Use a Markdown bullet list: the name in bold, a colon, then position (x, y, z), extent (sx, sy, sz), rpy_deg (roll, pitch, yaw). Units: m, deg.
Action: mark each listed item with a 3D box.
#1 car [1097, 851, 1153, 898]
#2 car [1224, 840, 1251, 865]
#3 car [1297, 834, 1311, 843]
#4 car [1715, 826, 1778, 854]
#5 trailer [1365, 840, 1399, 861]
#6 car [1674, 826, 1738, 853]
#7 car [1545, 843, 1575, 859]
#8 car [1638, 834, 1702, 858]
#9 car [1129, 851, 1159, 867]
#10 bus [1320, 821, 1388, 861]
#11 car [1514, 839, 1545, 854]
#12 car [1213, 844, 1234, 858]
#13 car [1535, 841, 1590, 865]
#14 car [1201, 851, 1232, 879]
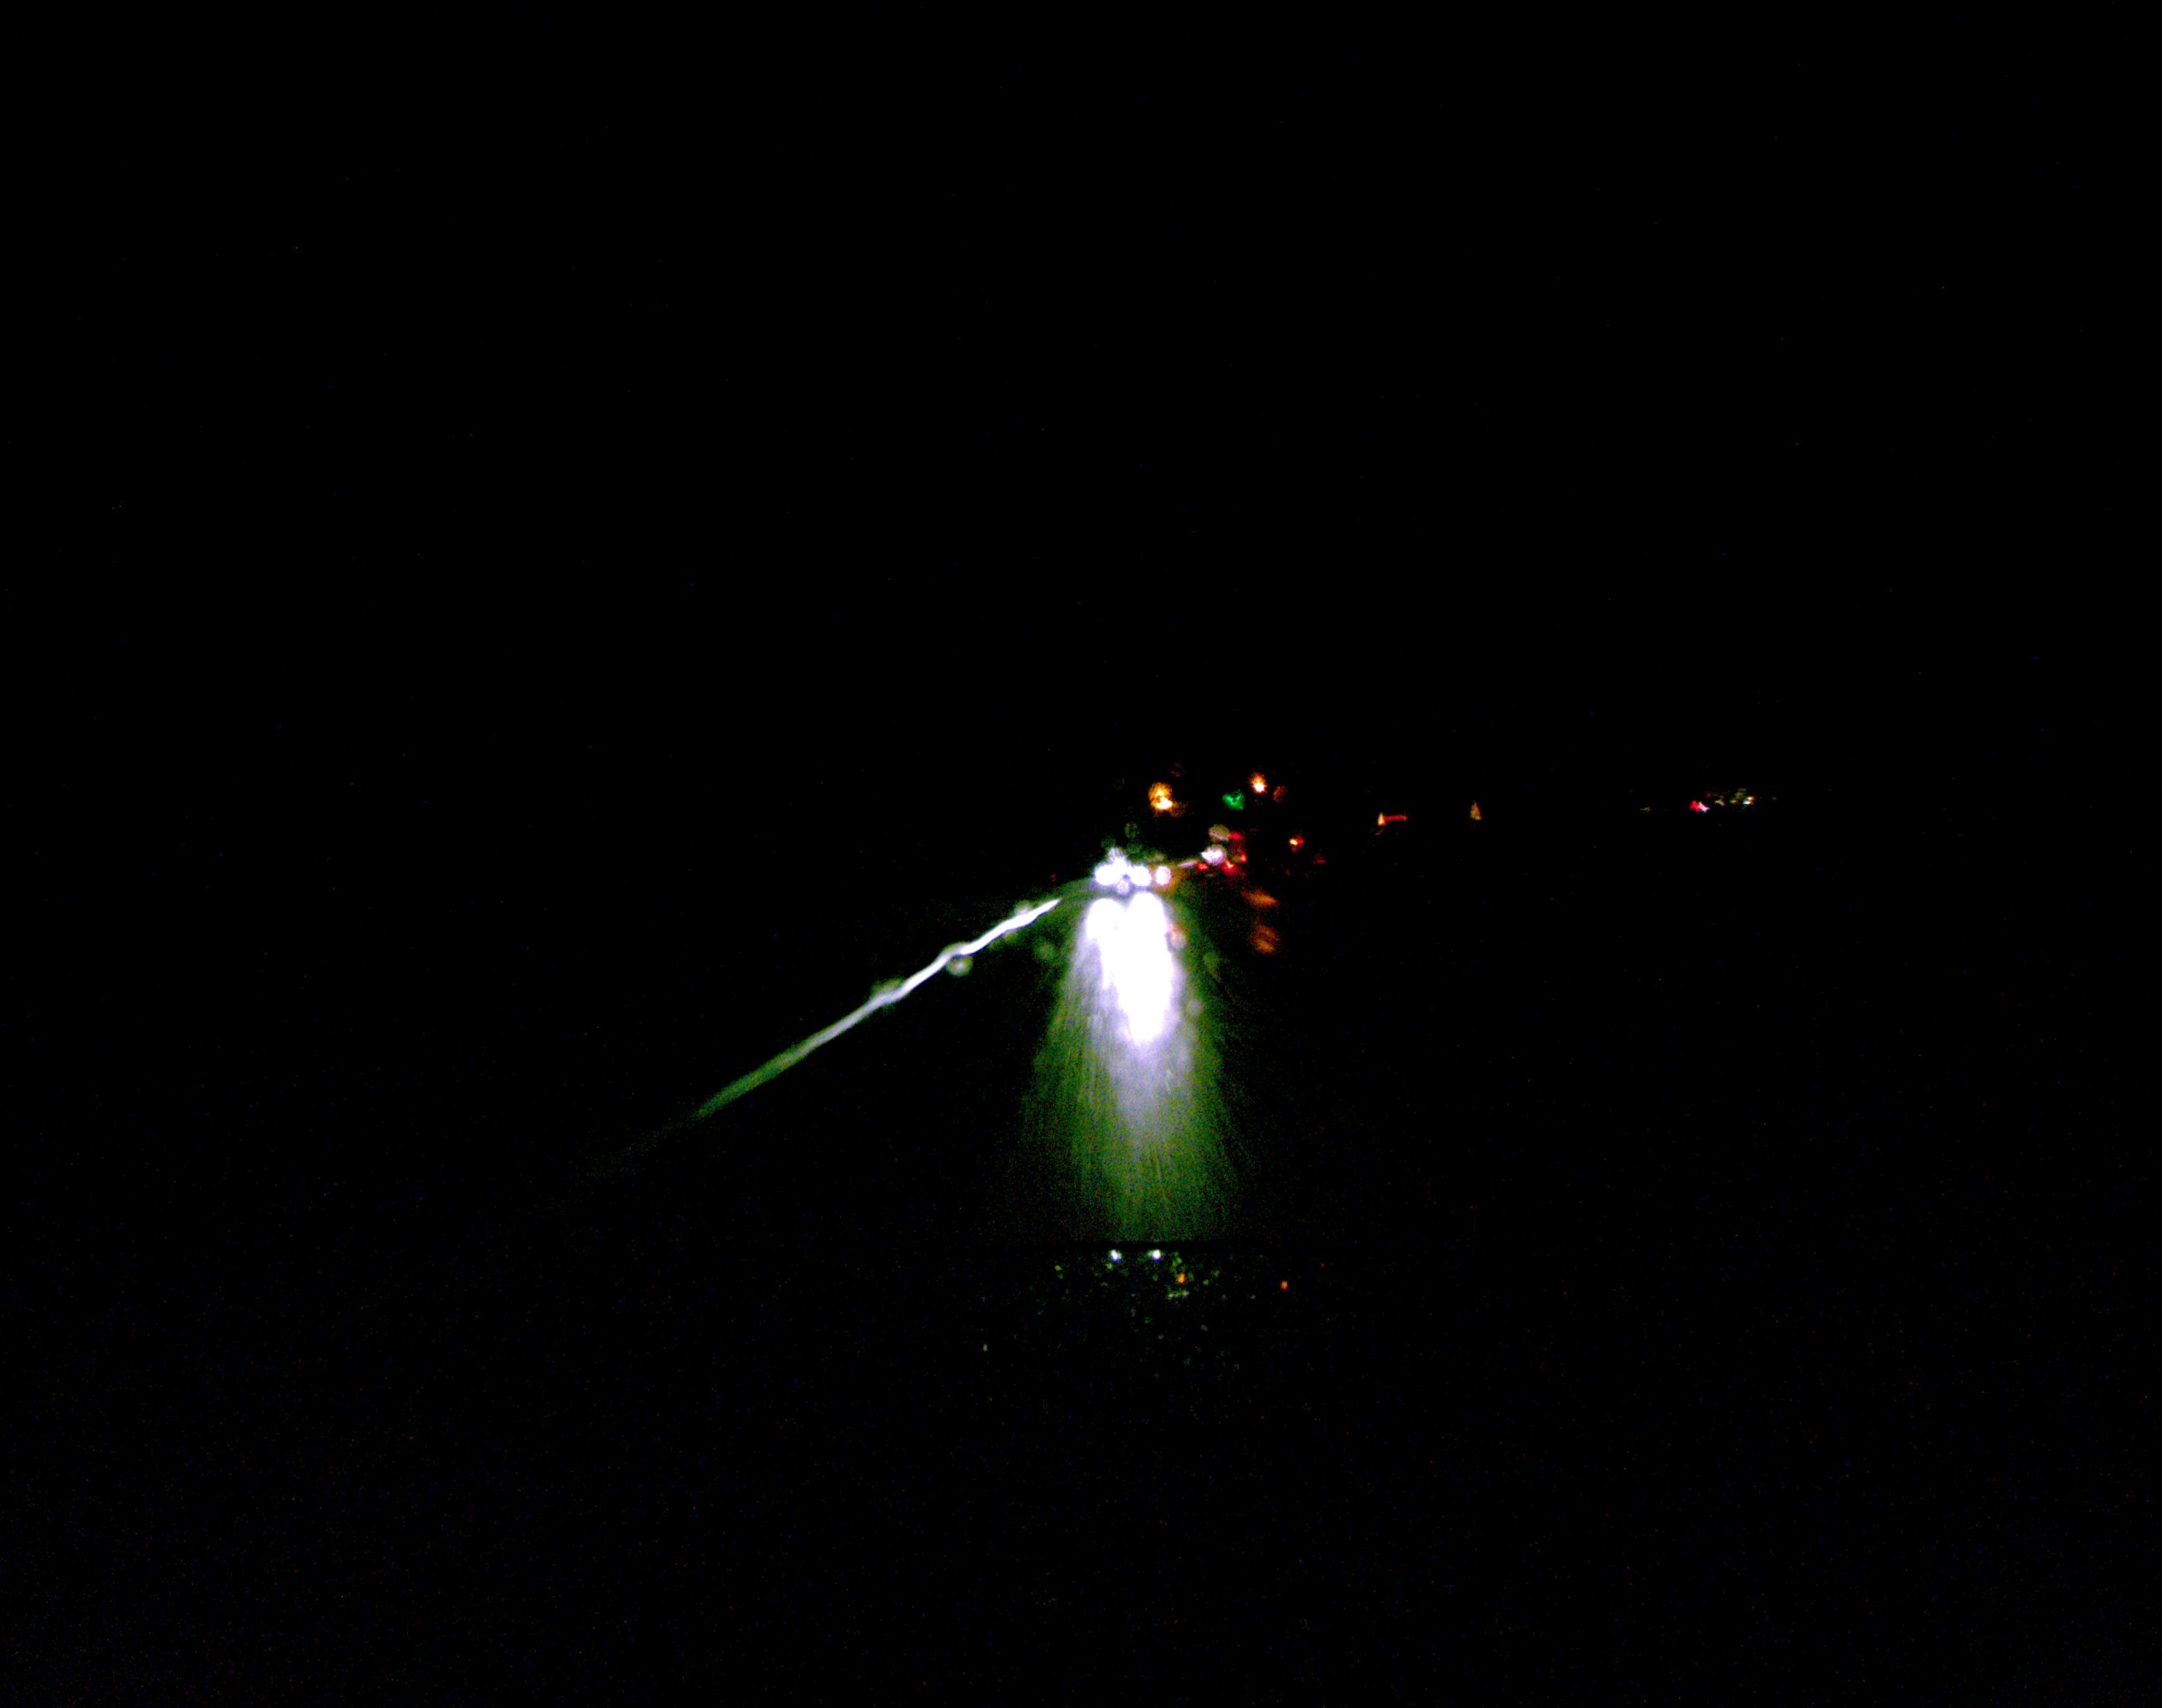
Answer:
- **car**: position (1.831, 0.778, 30.569), extent (1.958, 1.711, 4.002), rpy_deg (-2, 0, 7)
- **car**: position (14.161, -0.143, 68.688), extent (1.996, 2.002, 4.849), rpy_deg (-4, 1, 15)
- **car**: position (34.829, -2.408, 118.699), extent (1.637, 1.502, 4.123), rpy_deg (1, 1, 21)
- **car**: position (54.148, -1.170, 61.903), extent (1.763, 2.045, 3.998), rpy_deg (-4, 3, 2)
- **trailer**: position (25.393, -0.300, 64.229), extent (1.815, 1.668, 4.103), rpy_deg (1, 1, 10)
- **car**: position (51.630, -1.238, 62.858), extent (1.998, 2.045, 3.998), rpy_deg (-4, 3, 2)
- **car**: position (52.305, -0.338, 82.946), extent (4.046, 1.391, 1.855), rpy_deg (-7, 7, -43)
- **car**: position (48.861, -0.703, 63.139), extent (1.941, 1.688, 4.627), rpy_deg (-4, 3, 5)
- **car**: position (6.152, 0.458, 74.106), extent (1.636, 1.390, 3.681), rpy_deg (-1, 1, 25)
- **bus**: position (29.305, -1.555, 82.328), extent (2.900, 3.847, 13.055), rpy_deg (-3, 2, 2)
- **car**: position (50.290, -0.875, 85.162), extent (4.046, 1.391, 1.855), rpy_deg (-7, 7, -43)
- **car**: position (16.315, -0.324, 86.982), extent (1.927, 1.501, 4.100), rpy_deg (0, 1, 17)
- **car**: position (40.407, -0.120, 63.876), extent (1.941, 1.688, 4.627), rpy_deg (-4, 3, 5)
- **car**: position (7.696, 0.588, 43.346), extent (1.638, 1.501, 4.098), rpy_deg (0, 1, 10)
